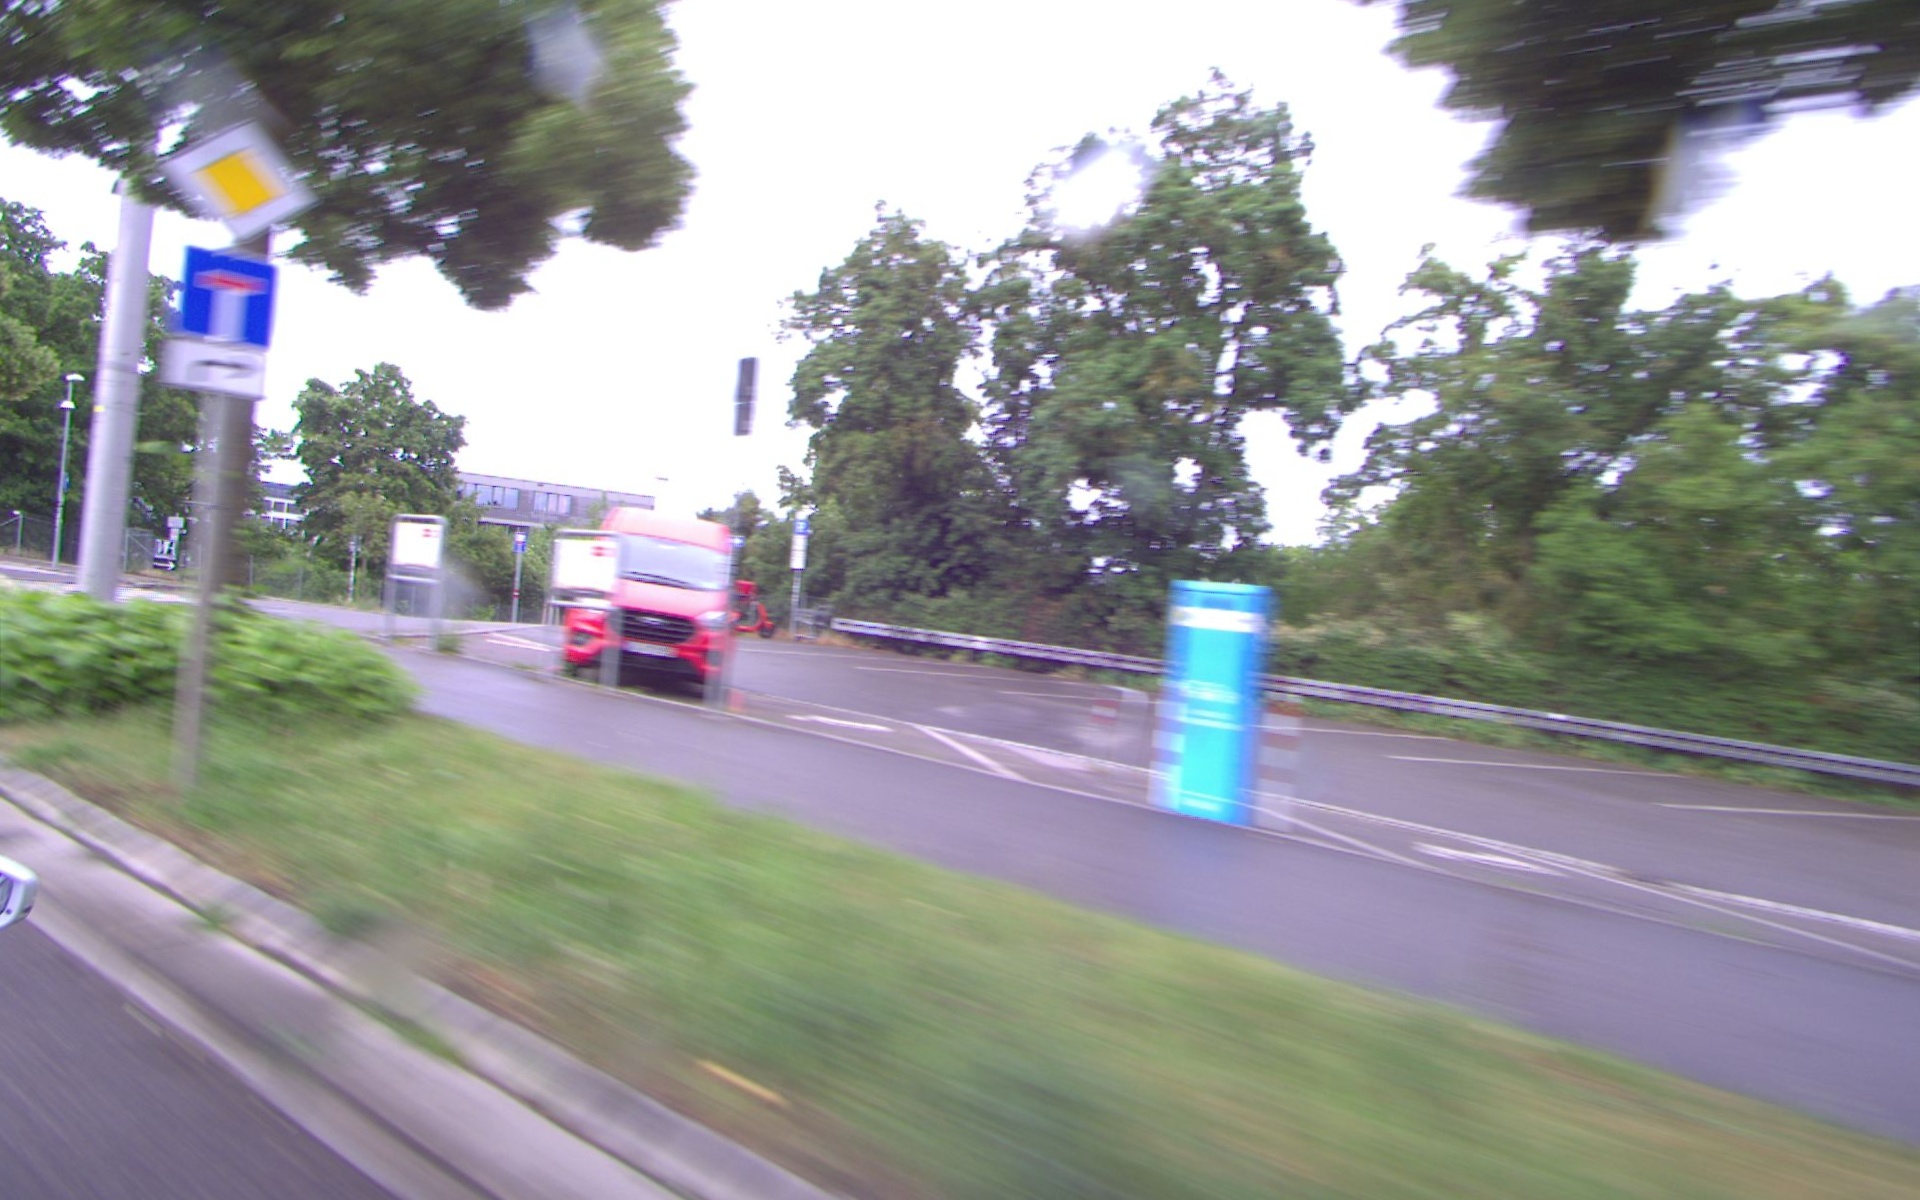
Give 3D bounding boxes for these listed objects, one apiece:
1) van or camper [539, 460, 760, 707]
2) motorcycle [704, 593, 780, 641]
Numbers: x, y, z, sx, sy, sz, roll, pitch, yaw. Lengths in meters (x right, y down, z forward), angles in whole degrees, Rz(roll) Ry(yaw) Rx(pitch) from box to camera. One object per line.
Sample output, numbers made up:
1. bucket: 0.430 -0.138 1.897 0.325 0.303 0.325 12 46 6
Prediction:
1. van or camper: -4.125 -0.093 13.825 2.011 2.431 5.381 10 -4 -15
2. motorcycle: -6.067 0.487 28.030 1.994 1.227 0.472 4 -4 -20
